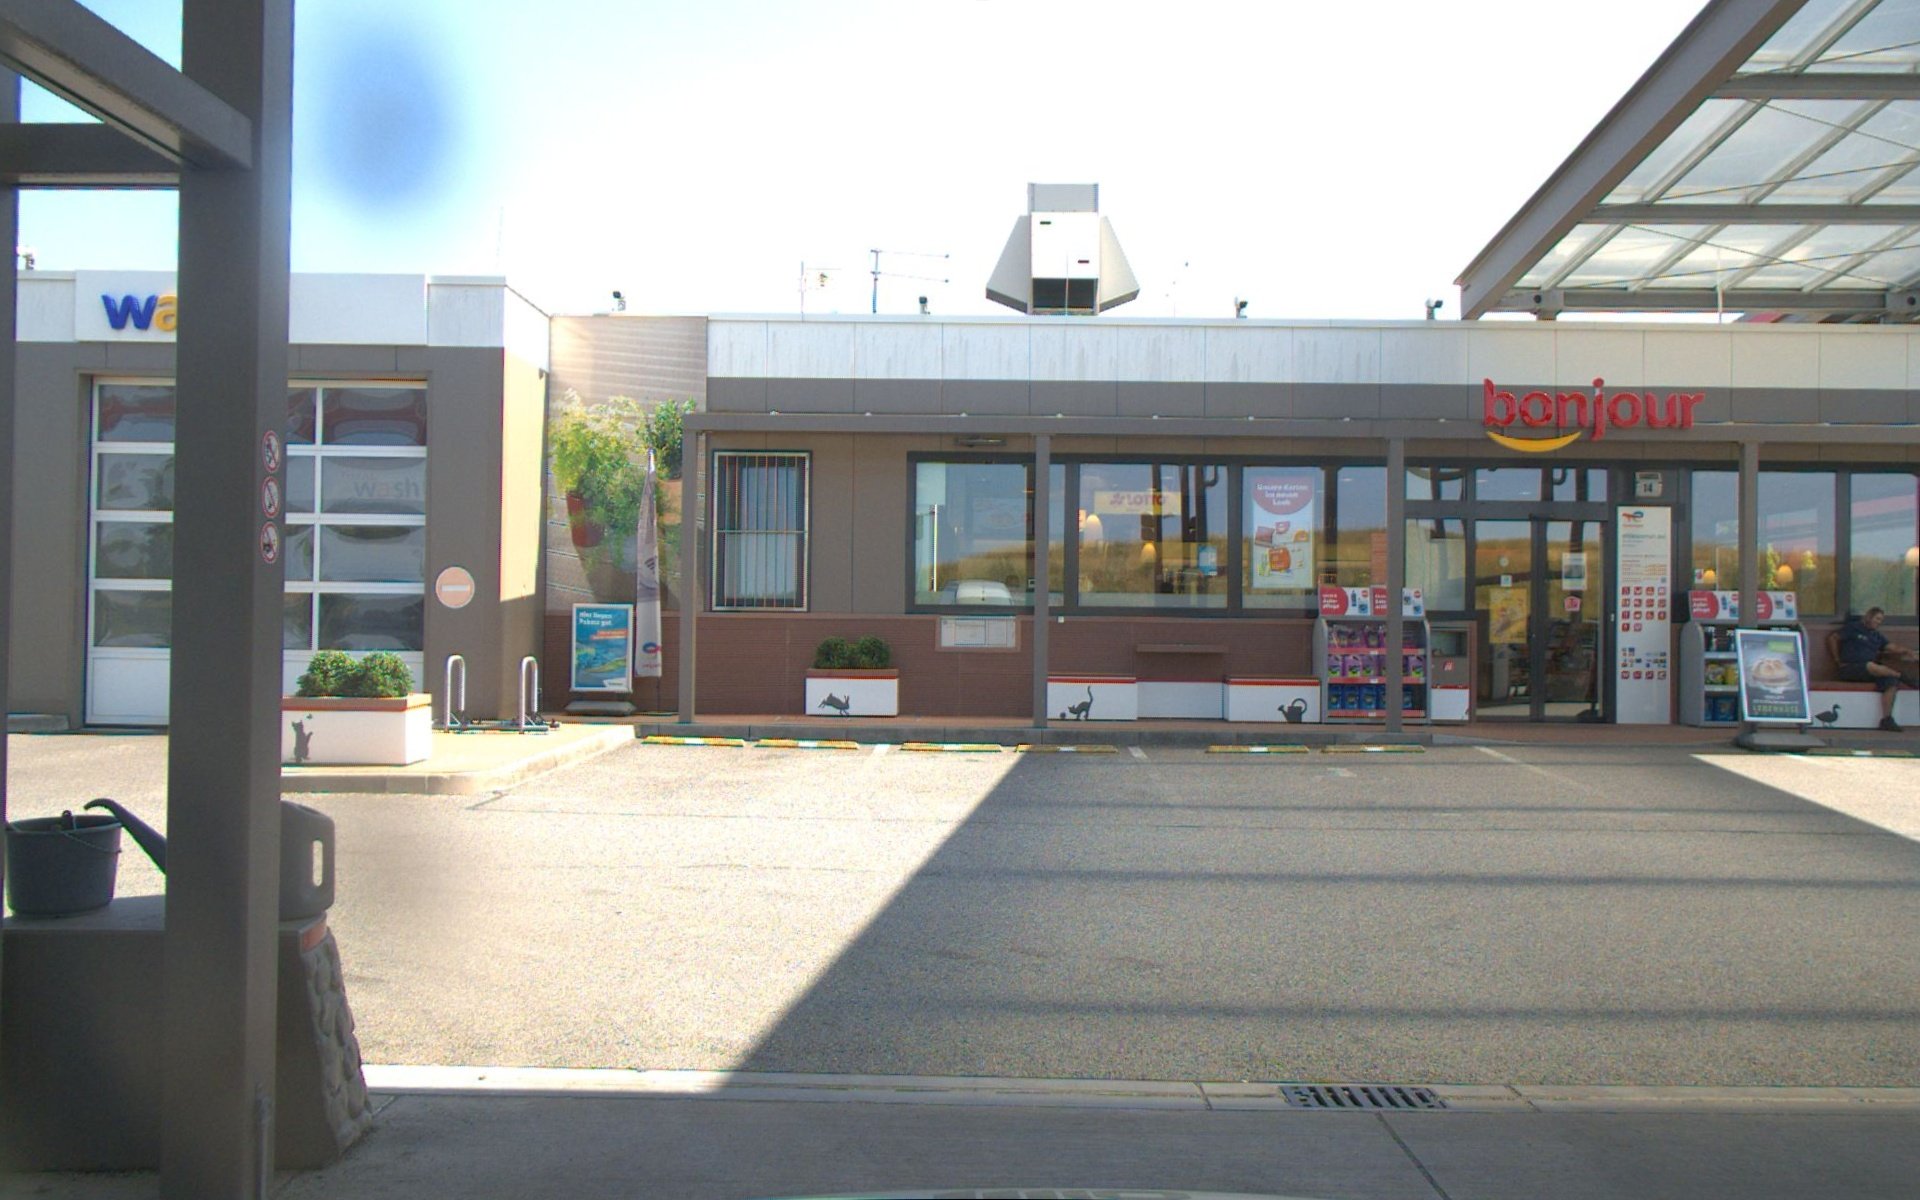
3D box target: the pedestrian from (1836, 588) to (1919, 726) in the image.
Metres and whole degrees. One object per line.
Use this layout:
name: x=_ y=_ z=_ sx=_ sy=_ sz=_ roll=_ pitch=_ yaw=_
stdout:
pedestrian: x=9.980 y=0.602 z=17.865 sx=0.687 sy=1.457 sz=0.672 roll=0 pitch=0 yaw=0
